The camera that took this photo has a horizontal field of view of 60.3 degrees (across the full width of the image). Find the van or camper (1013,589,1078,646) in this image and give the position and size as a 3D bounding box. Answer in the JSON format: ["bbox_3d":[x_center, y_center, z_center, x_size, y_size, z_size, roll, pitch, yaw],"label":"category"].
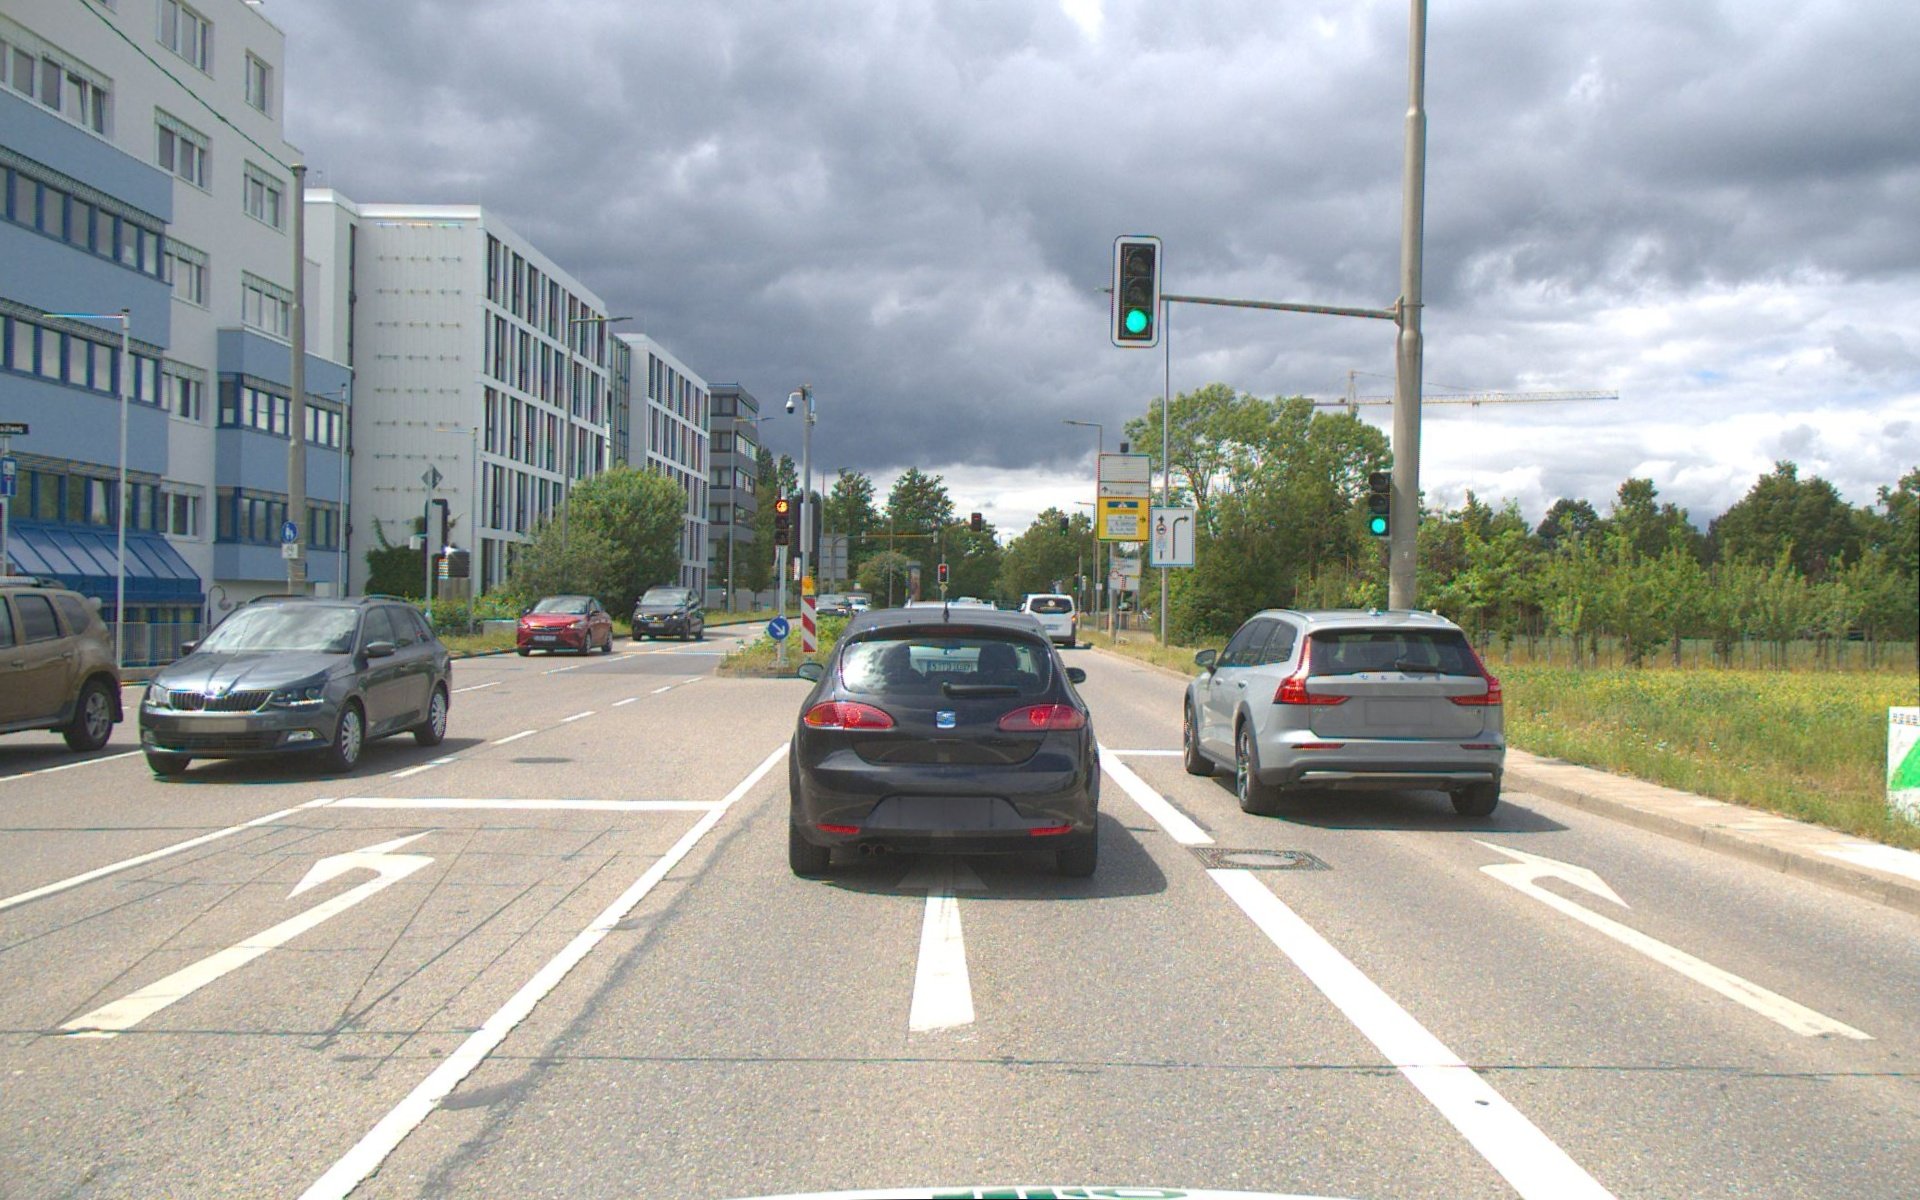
[{"bbox_3d":[3.031,0.628,59.115,1.862,1.959,3.997,0,-1,-4],"label":"van or camper"}]

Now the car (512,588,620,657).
[{"bbox_3d":[-9.736,0.550,41.180,1.739,1.640,3.999,0,-1,0],"label":"car"}]

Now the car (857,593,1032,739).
[{"bbox_3d":[-0.228,0.743,20.788,1.943,1.618,4.224,1,0,-2],"label":"car"}]

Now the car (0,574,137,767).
[{"bbox_3d":[-9.097,0.624,14.569,1.715,1.659,3.999,-1,0,-1],"label":"car"}]

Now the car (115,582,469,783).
[{"bbox_3d":[-5.884,0.631,15.097,1.635,1.551,4.007,-1,1,-1],"label":"car"}]

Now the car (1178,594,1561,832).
[{"bbox_3d":[3.027,0.779,13.232,1.918,1.552,4.339,-1,-1,-1],"label":"car"}]

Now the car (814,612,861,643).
[{"bbox_3d":[-5.763,1.304,78.200,1.953,1.434,3.999,0,-1,-1],"label":"car"}]

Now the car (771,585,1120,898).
[{"bbox_3d":[0.015,0.728,10.305,1.711,1.510,4.001,2,-1,2],"label":"car"}]

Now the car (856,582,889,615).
[{"bbox_3d":[-5.506,-0.070,104.280,1.953,2.049,3.999,0,-1,-1],"label":"car"}]

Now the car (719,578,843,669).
[{"bbox_3d":[-3.093,0.413,29.276,1.808,1.487,4.055,0,-1,-1],"label":"car"}]

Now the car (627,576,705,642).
[{"bbox_3d":[-9.558,0.311,54.122,1.954,2.049,4.478,0,-1,-3],"label":"car"}]
